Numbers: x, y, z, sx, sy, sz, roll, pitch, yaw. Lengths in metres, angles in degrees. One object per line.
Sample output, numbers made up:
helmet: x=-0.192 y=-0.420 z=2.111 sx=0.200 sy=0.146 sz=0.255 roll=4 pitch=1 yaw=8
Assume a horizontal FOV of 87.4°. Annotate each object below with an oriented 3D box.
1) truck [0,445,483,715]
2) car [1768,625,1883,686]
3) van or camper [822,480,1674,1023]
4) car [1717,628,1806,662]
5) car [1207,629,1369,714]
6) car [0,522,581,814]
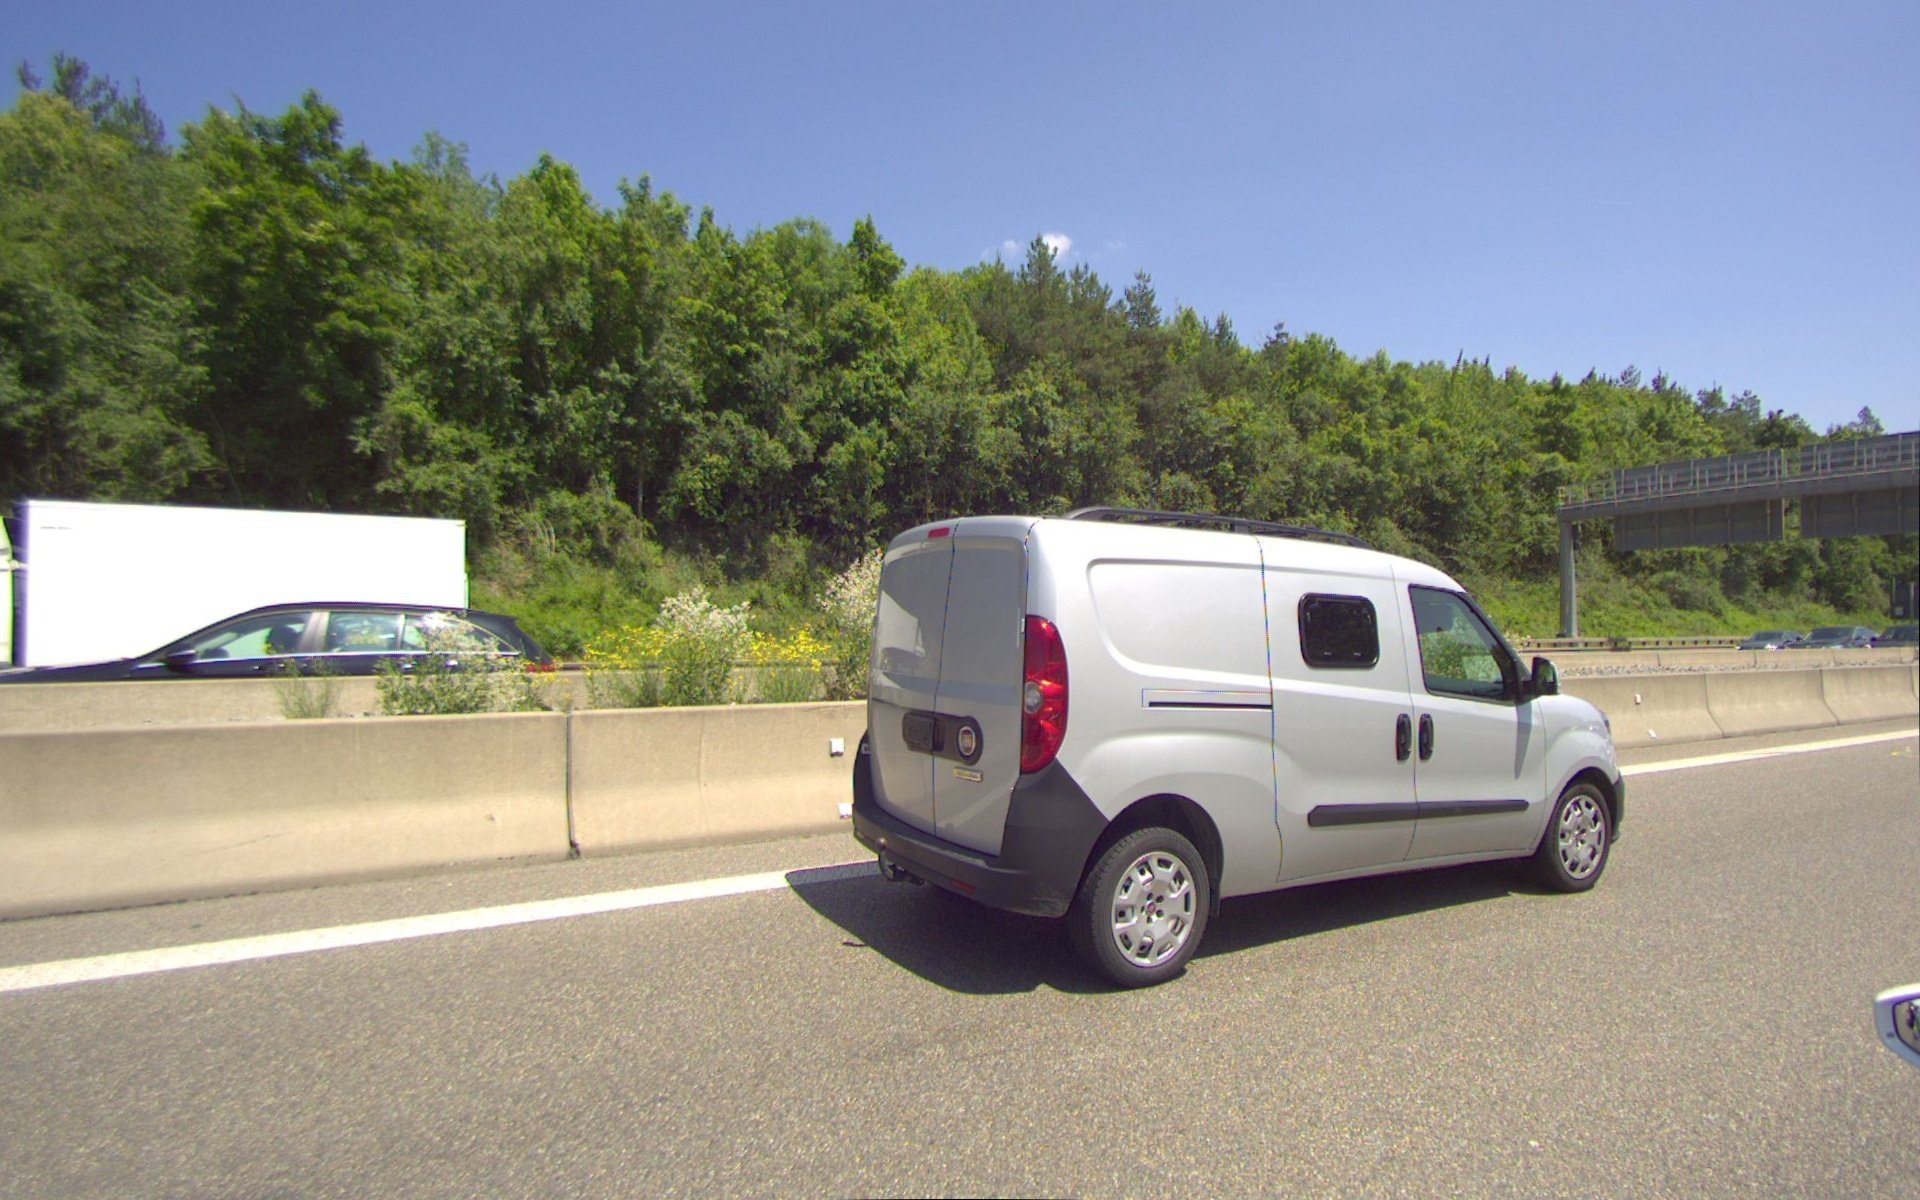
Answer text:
truck: x=-12.896 y=-0.207 z=17.582 sx=7.901 sy=4.042 sz=2.678 roll=2 pitch=-1 yaw=-32
car: x=31.192 y=1.987 z=36.208 sx=3.953 sy=2.040 sz=1.945 roll=2 pitch=-1 yaw=-30
van or camper: x=1.700 y=0.556 z=5.458 sx=4.507 sy=1.905 sz=1.844 roll=1 pitch=0 yaw=-30
car: x=37.628 y=2.106 z=47.146 sx=3.953 sy=1.466 sz=1.984 roll=2 pitch=-1 yaw=-30
car: x=8.704 y=1.851 z=26.620 sx=3.955 sy=2.040 sz=1.983 roll=2 pitch=-1 yaw=-32
car: x=-5.595 y=0.542 z=8.809 sx=3.953 sy=2.040 sz=1.984 roll=2 pitch=-1 yaw=-30
